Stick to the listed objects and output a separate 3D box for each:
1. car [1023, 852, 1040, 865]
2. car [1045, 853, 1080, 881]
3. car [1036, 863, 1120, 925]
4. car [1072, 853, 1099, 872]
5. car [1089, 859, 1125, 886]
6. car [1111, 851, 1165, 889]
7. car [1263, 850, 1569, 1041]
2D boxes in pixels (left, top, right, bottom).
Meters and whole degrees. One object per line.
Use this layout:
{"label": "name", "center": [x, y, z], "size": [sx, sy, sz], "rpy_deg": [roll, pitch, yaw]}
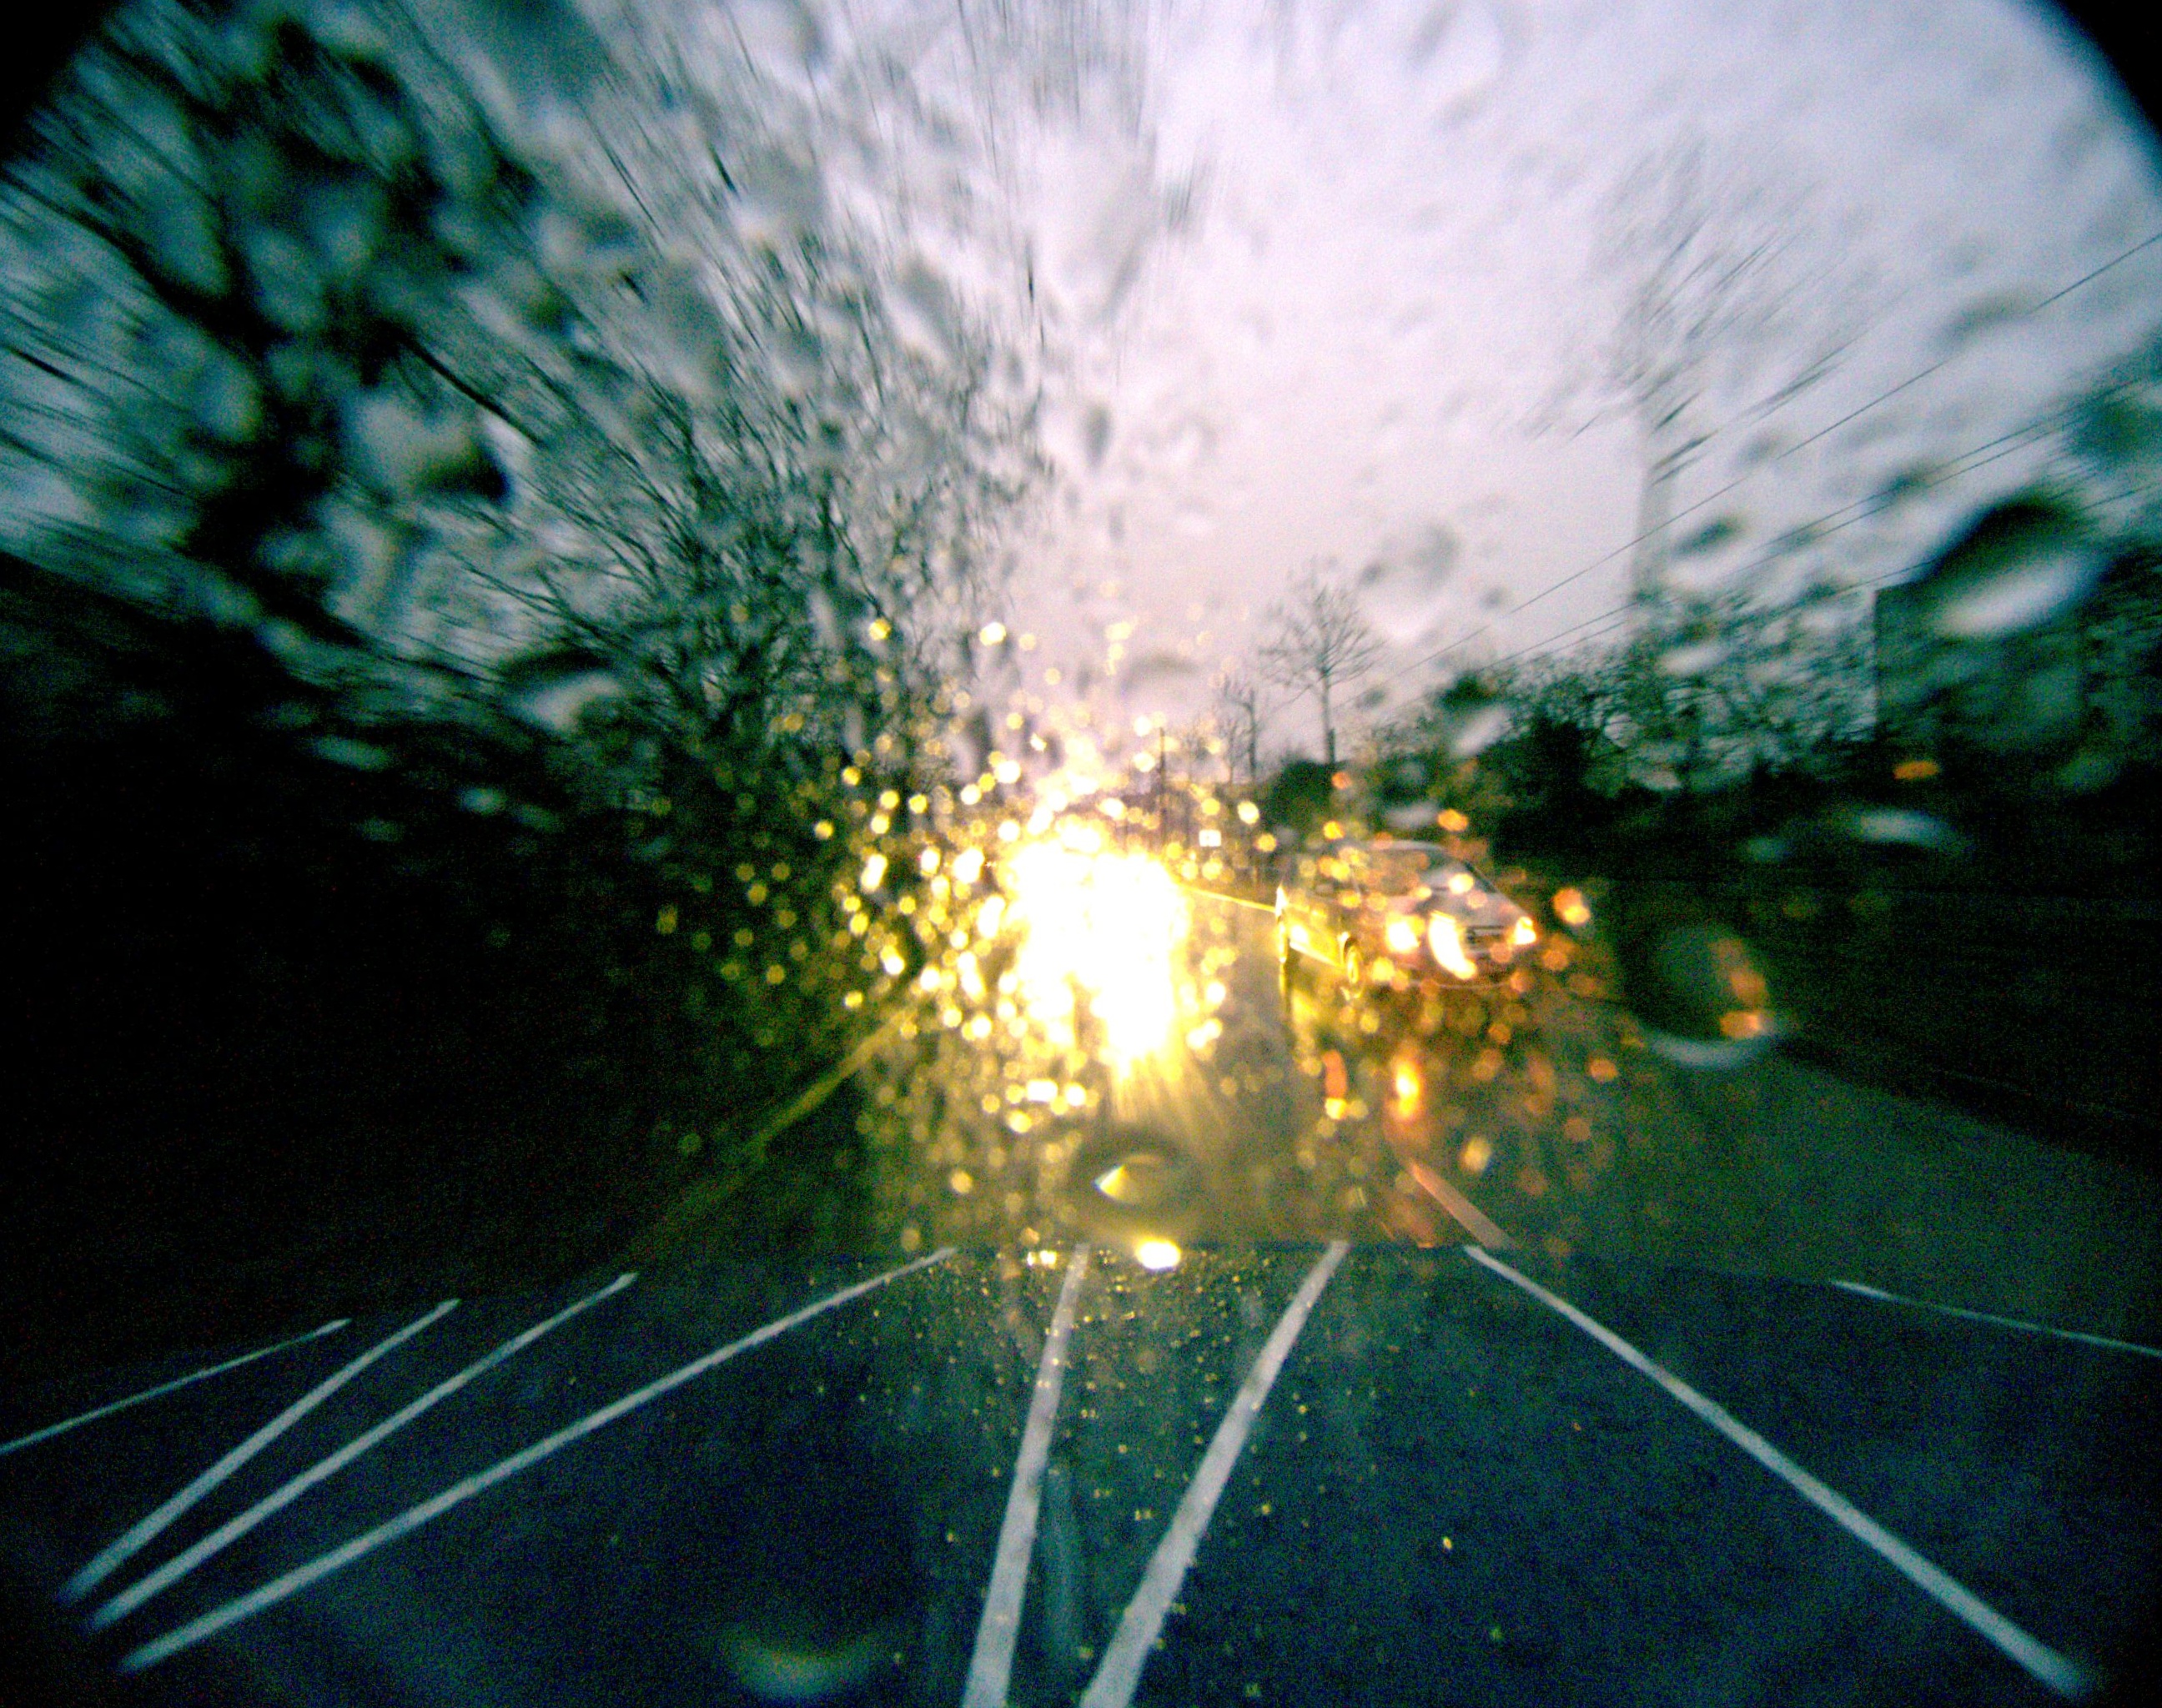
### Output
{"label": "car", "center": [-6.568, 0.618, 100.695], "size": [1.950, 1.546, 4.214], "rpy_deg": [-3, 0, -7]}
{"label": "car", "center": [-1.181, 0.748, 46.283], "size": [1.950, 1.546, 4.216], "rpy_deg": [-3, 0, -3]}
{"label": "car", "center": [-0.138, 0.930, 19.484], "size": [1.897, 1.347, 4.288], "rpy_deg": [-1, 0, -2]}
{"label": "car", "center": [0.341, 0.711, 65.328], "size": [1.950, 1.546, 4.215], "rpy_deg": [-3, 0, -4]}
{"label": "car", "center": [1.634, 1.142, 48.655], "size": [1.845, 1.546, 4.215], "rpy_deg": [-3, 0, -3]}
{"label": "car", "center": [2.498, 0.685, 34.312], "size": [1.924, 1.546, 4.216], "rpy_deg": [-3, 0, -2]}
{"label": "car", "center": [3.354, 0.784, 8.490], "size": [1.669, 1.566, 3.922], "rpy_deg": [-3, 0, 1]}
